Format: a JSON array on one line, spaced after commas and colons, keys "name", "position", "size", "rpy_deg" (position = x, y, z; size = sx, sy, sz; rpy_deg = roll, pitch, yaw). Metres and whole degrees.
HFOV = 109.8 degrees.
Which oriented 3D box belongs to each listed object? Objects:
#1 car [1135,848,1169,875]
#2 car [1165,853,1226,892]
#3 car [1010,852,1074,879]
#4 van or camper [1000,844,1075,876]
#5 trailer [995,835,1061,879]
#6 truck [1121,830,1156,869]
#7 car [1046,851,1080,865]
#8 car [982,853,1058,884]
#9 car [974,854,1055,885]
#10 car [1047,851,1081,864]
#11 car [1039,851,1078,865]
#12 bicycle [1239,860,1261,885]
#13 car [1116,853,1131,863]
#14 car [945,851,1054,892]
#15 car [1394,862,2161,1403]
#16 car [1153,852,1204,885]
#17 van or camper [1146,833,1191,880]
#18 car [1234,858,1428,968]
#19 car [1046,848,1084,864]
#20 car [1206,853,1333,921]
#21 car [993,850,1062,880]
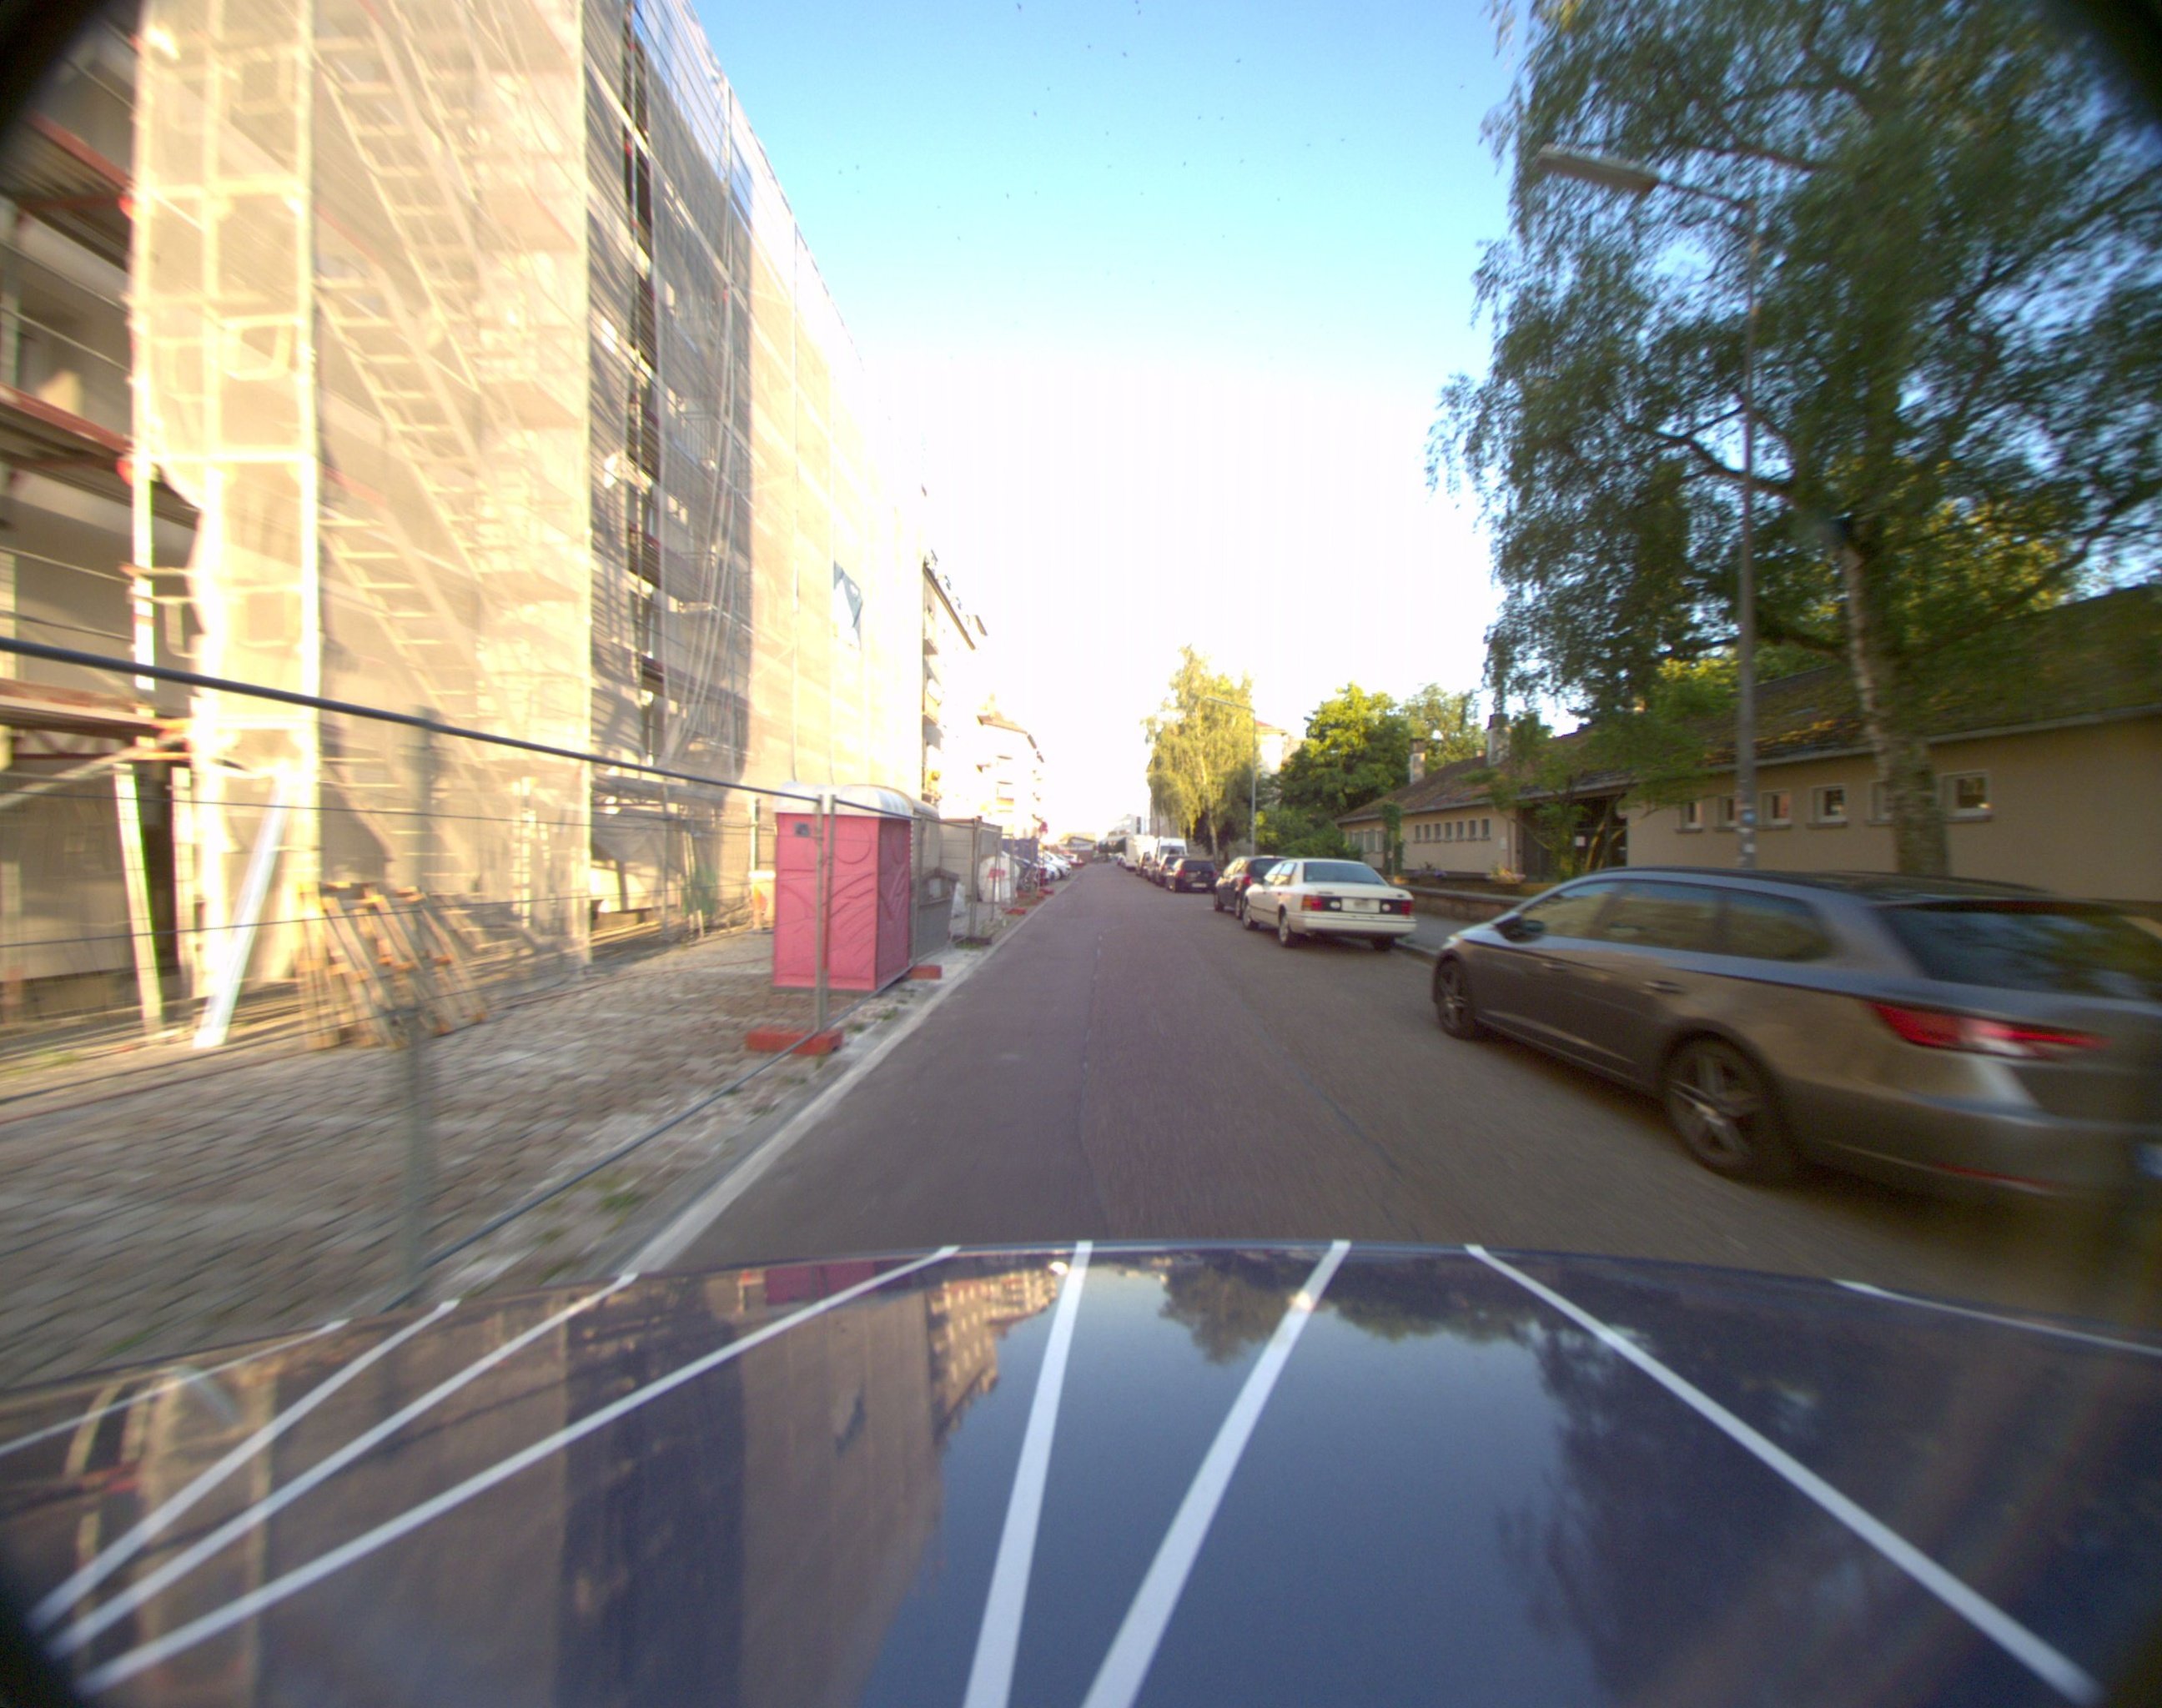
[{"name": "car", "position": [4.978, 0.522, 53.555], "size": [1.915, 1.777, 4.949], "rpy_deg": [1, 0, 0]}, {"name": "car", "position": [4.596, 0.715, 31.077], "size": [1.998, 1.444, 4.288], "rpy_deg": [-1, 0, 2]}, {"name": "car", "position": [-2.419, 0.720, 48.199], "size": [3.997, 1.630, 2.000], "rpy_deg": [0, 1, 0]}, {"name": "van or camper", "position": [-2.874, 0.406, 50.939], "size": [4.846, 2.084, 2.040], "rpy_deg": [0, 0, 1]}, {"name": "trailer", "position": [-3.004, 0.151, 43.547], "size": [3.576, 2.323, 1.940], "rpy_deg": [2, 0, -2]}, {"name": "truck", "position": [5.282, -0.376, 71.000], "size": [2.532, 3.334, 8.017], "rpy_deg": [3, 0, 0]}, {"name": "car", "position": [-2.090, 0.499, 89.090], "size": [3.997, 1.652, 2.000], "rpy_deg": [0, 0, -1]}, {"name": "car", "position": [-3.233, 0.753, 40.952], "size": [3.997, 1.628, 1.903], "rpy_deg": [0, 0, -2]}, {"name": "car", "position": [-3.335, 0.772, 38.658], "size": [3.974, 1.562, 1.788], "rpy_deg": [0, 0, -2]}, {"name": "car", "position": [-2.024, 0.403, 91.527], "size": [3.997, 1.619, 1.784], "rpy_deg": [0, 0, -1]}, {"name": "car", "position": [-2.556, 0.454, 86.501], "size": [4.310, 1.532, 1.924], "rpy_deg": [0, 0, 3]}, {"name": "bicycle", "position": [7.928, 0.838, 35.699], "size": [0.544, 1.111, 1.955], "rpy_deg": [-1, 0, 0]}, {"name": "car", "position": [6.459, 0.618, 114.969], "size": [1.998, 1.481, 4.431], "rpy_deg": [-1, 0, 0]}, {"name": "car", "position": [-3.254, 0.697, 30.953], "size": [4.163, 1.606, 1.872], "rpy_deg": [0, 0, 3]}, {"name": "car", "position": [3.802, 0.867, 4.624], "size": [1.864, 1.529, 4.758], "rpy_deg": [1, 0, 1]}, {"name": "car", "position": [4.683, 0.653, 37.012], "size": [1.998, 1.510, 4.789], "rpy_deg": [-1, 0, 2]}, {"name": "van or camper", "position": [4.849, 0.132, 42.869], "size": [1.998, 2.442, 6.083], "rpy_deg": [0, 0, 1]}, {"name": "car", "position": [3.997, 0.843, 13.065], "size": [1.786, 1.437, 4.748], "rpy_deg": [2, 0, 1]}, {"name": "car", "position": [-1.975, 0.230, 94.434], "size": [4.684, 1.988, 2.000], "rpy_deg": [0, 0, 2]}, {"name": "car", "position": [4.427, 0.721, 18.498], "size": [1.999, 1.444, 3.999], "rpy_deg": [-1, 0, -1]}, {"name": "car", "position": [-3.146, 0.621, 45.576], "size": [3.997, 1.718, 1.999], "rpy_deg": [0, 2, 0]}]
